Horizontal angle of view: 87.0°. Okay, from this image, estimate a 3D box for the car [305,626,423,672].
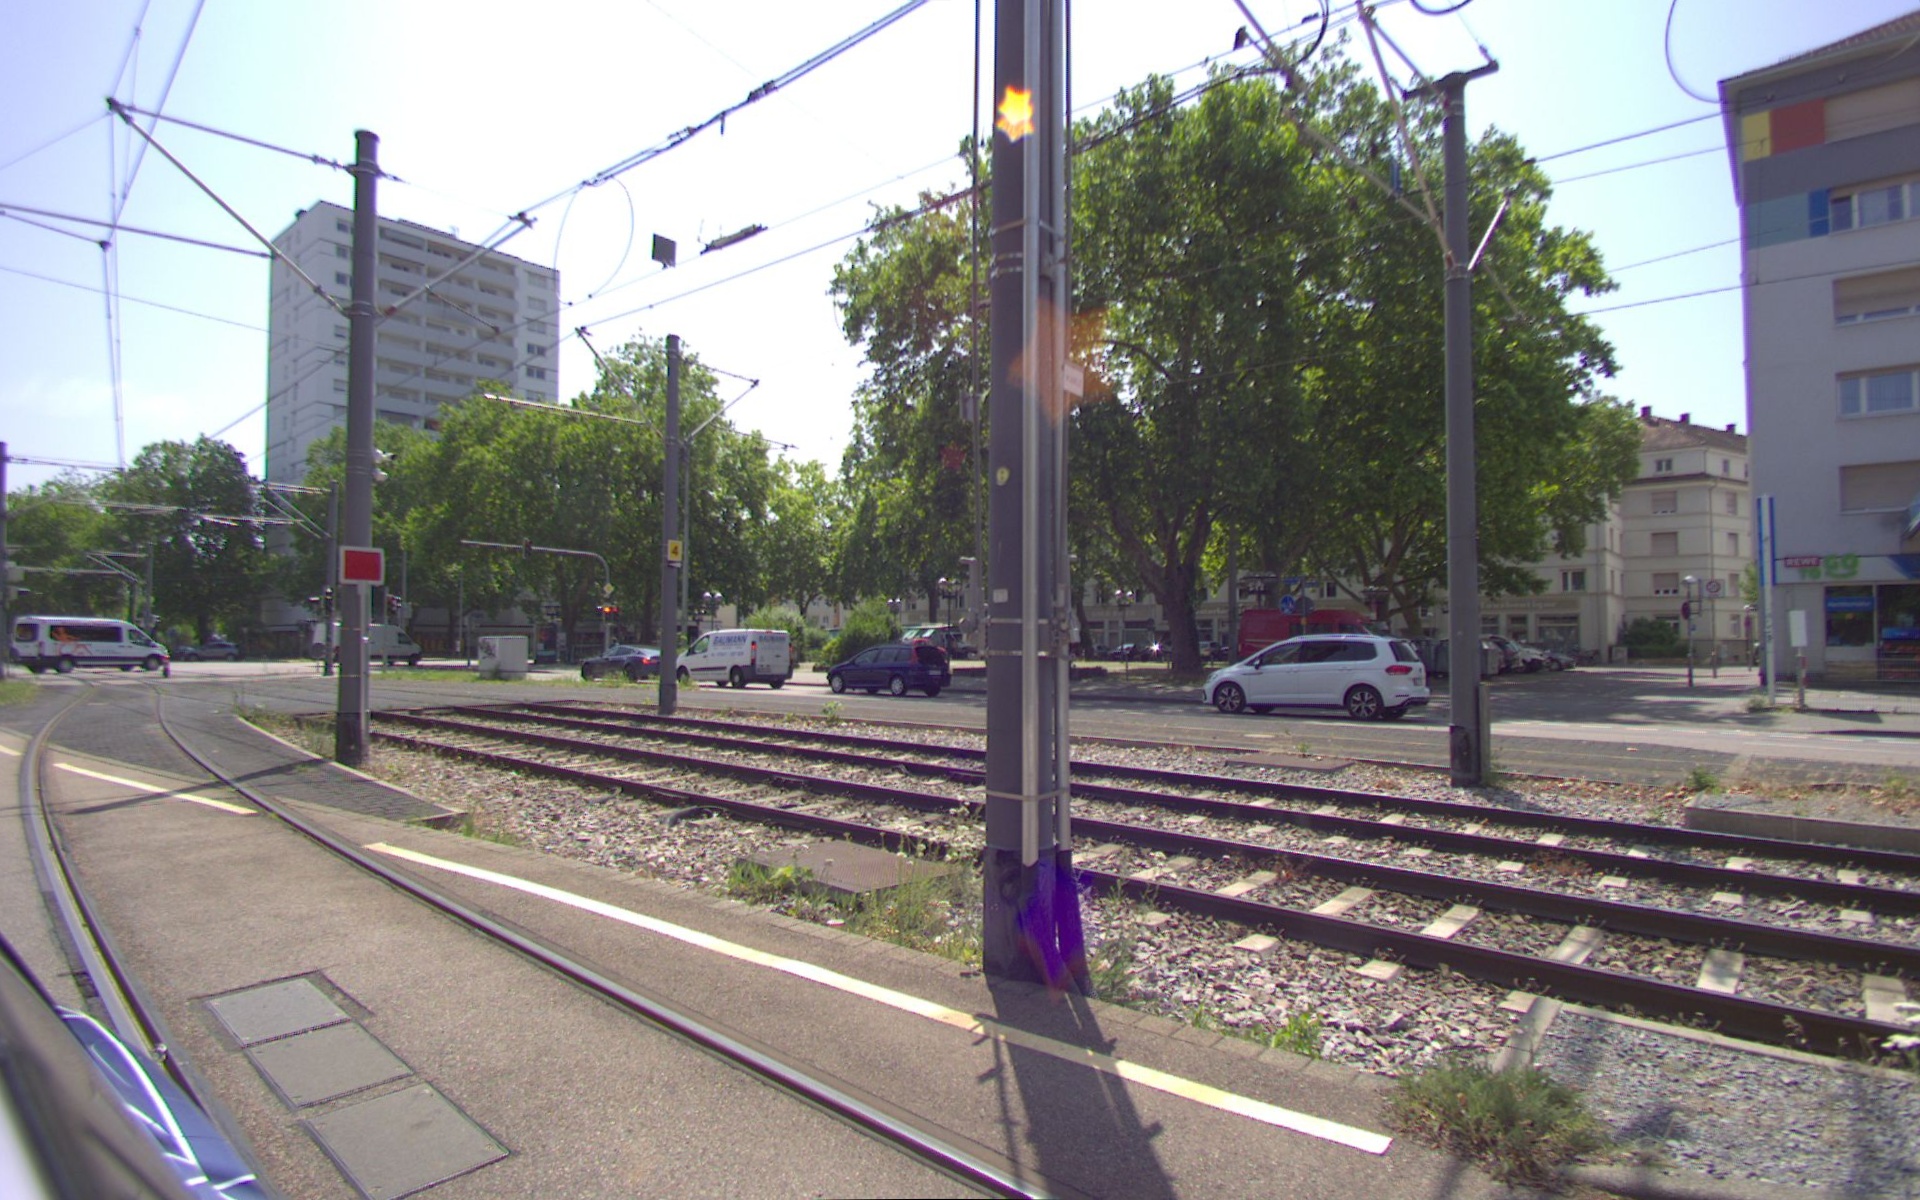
[{"bbox_3d":[-36.527,2.990,62.314,2.059,2.657,6.596,-1,-2,17],"label":"car"}]

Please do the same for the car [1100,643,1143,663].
[{"bbox_3d":[12.264,3.989,76.795,1.620,1.420,3.658,-2,-3,40],"label":"car"}]

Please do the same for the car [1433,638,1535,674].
[{"bbox_3d":[24.968,2.670,48.284,3.994,1.623,1.845,-3,-3,38],"label":"car"}]

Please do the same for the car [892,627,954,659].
[{"bbox_3d":[-2.588,2.946,69.803,3.997,2.099,1.973,-2,-3,41],"label":"car"}]

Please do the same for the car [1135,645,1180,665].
[{"bbox_3d":[14.663,4.063,75.114,1.620,1.420,3.874,-2,-3,40],"label":"car"}]

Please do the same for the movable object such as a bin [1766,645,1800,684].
[{"bbox_3d":[33.342,2.605,41.009,1.019,1.572,0.554,-3,-3,42],"label":"movable object such as a bin"}]

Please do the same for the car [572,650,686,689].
[{"bbox_3d":[-12.461,2.579,38.013,4.624,1.369,1.927,-3,-4,40],"label":"car"}]

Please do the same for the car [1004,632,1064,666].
[{"bbox_3d":[6.192,4.015,83.845,2.106,2.680,5.634,-2,-3,40],"label":"car"}]

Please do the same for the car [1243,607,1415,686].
[{"bbox_3d":[11.956,1.494,32.992,4.978,2.411,1.828,-1,-4,40],"label":"car"}]

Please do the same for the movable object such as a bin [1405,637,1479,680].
[{"bbox_3d":[19.013,2.276,39.895,1.985,1.623,2.689,-2,-3,40],"label":"movable object such as a bin"}]

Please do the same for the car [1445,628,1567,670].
[{"bbox_3d":[27.185,2.459,50.487,5.097,2.006,1.900,-2,-3,36],"label":"car"}]

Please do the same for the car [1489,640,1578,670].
[{"bbox_3d":[32.067,3.066,56.632,3.997,1.623,1.973,-2,-3,40],"label":"car"}]

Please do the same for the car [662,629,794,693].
[{"bbox_3d":[-7.851,2.025,33.999,4.800,2.006,1.759,-3,-4,40],"label":"car"}]

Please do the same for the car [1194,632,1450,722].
[{"bbox_3d":[7.309,1.523,20.754,4.600,1.638,1.827,-2,-4,42],"label":"car"}]

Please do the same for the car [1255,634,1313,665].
[{"bbox_3d":[21.881,3.299,68.226,2.166,1.964,3.942,-3,-3,44],"label":"car"}]

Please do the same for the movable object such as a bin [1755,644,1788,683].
[{"bbox_3d":[33.563,2.631,41.865,1.019,1.572,0.554,-3,-3,42],"label":"movable object such as a bin"}]

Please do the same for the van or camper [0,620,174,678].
[{"bbox_3d":[-40.008,2.267,46.606,2.055,2.480,5.869,-2,-3,17],"label":"van or camper"}]

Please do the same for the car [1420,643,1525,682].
[{"bbox_3d":[23.461,2.830,46.415,3.997,1.719,1.582,-2,-3,40],"label":"car"}]

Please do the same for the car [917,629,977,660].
[{"bbox_3d":[-0.936,3.160,71.775,3.997,2.099,1.973,-2,-3,41],"label":"car"}]

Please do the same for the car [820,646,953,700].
[{"bbox_3d":[-2.155,2.070,29.092,3.779,1.431,1.580,-2,-5,40],"label":"car"}]

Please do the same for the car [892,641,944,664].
[{"bbox_3d":[-2.675,3.326,64.446,1.471,1.394,3.300,-2,-3,39],"label":"car"}]

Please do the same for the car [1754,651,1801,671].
[{"bbox_3d":[57.614,4.295,71.337,3.691,1.342,1.731,1,-3,-37],"label":"car"}]

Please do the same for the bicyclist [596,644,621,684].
[{"bbox_3d":[-15.370,2.801,44.259,0.867,1.698,0.632,-2,-3,37],"label":"bicyclist"}]
